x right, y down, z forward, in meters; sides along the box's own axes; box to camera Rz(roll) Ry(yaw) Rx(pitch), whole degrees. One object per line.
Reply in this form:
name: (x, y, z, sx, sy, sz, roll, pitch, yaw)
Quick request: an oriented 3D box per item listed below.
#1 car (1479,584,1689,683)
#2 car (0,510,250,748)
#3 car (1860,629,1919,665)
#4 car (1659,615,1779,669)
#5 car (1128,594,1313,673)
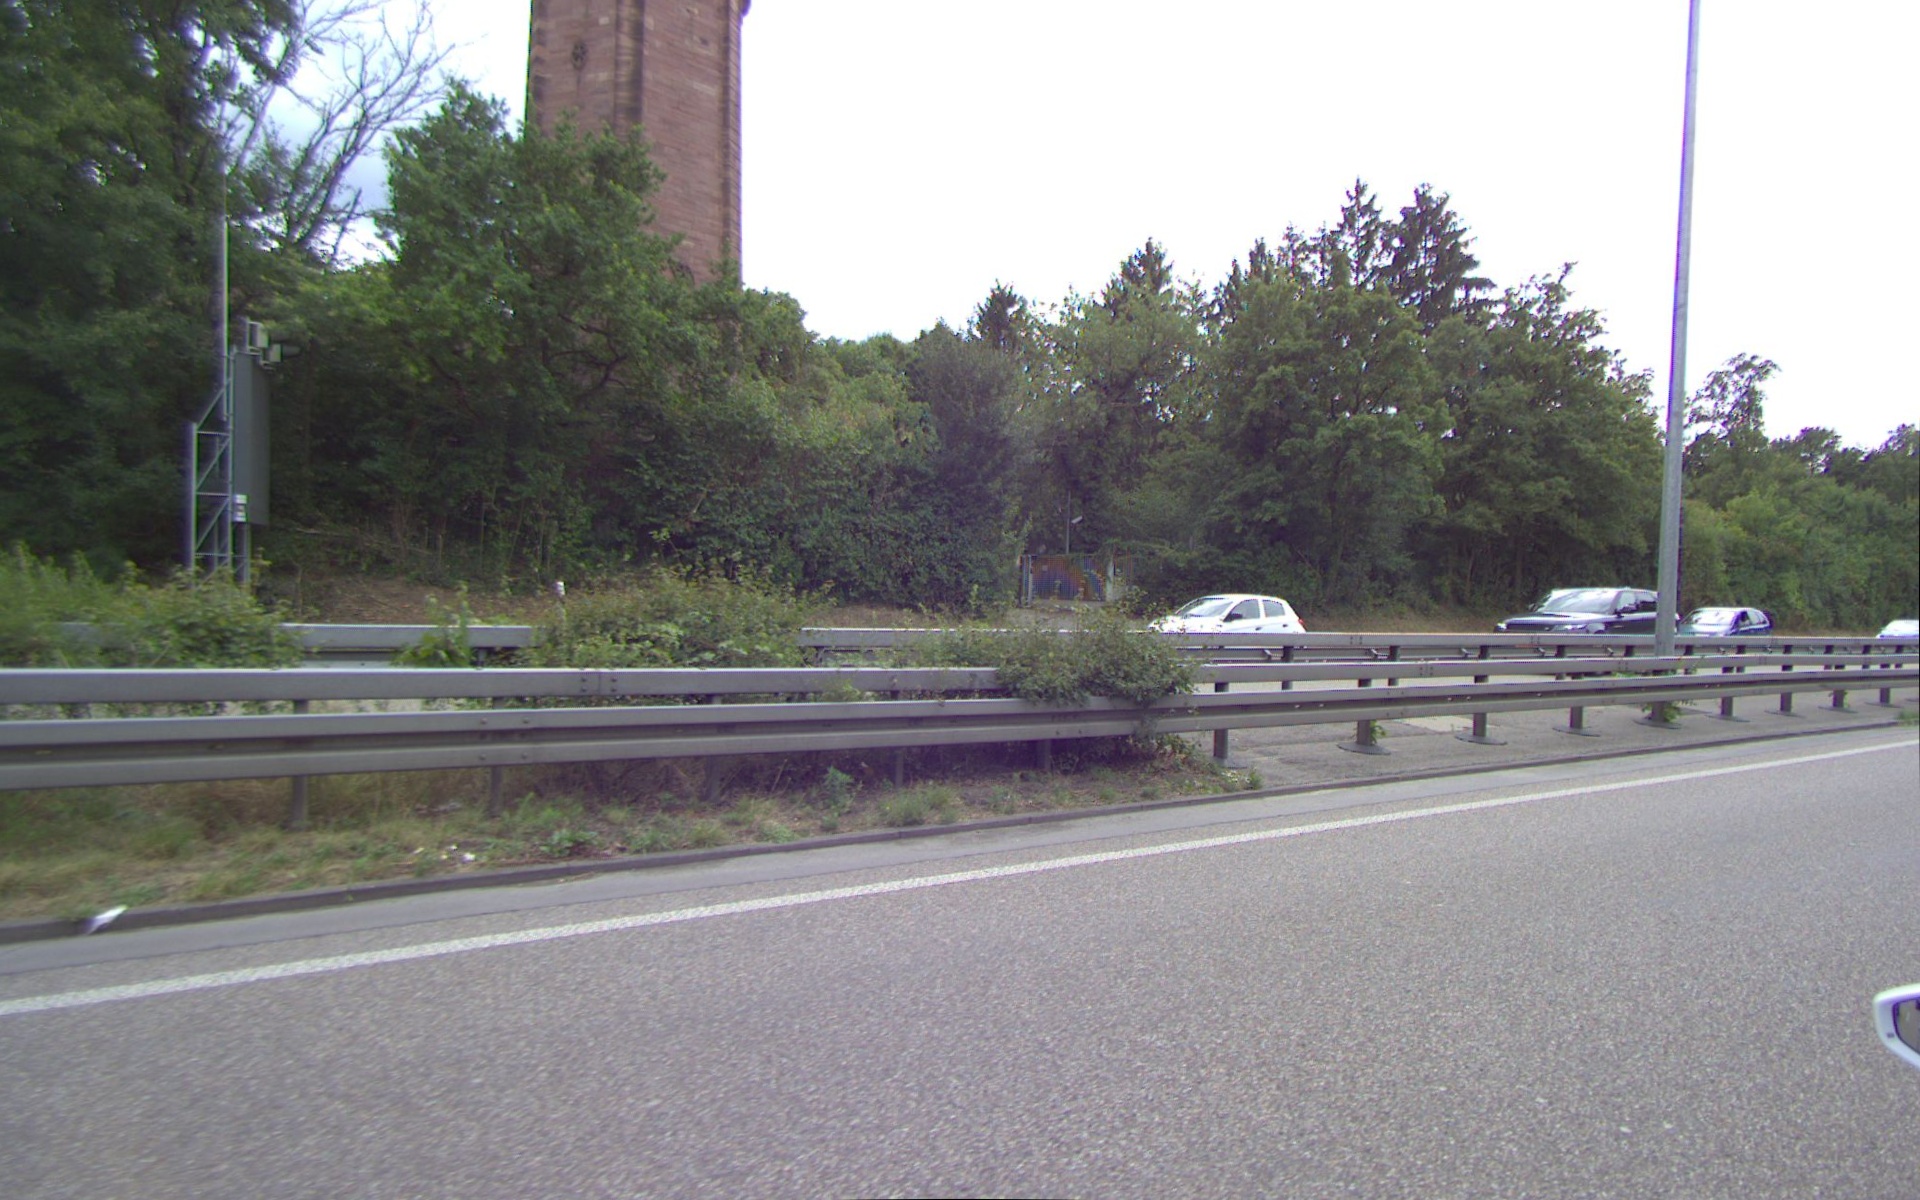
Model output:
car: (13.178, 0.713, 21.109, 4.902, 1.860, 1.782, 2, -1, -32)
car: (-8.440, 0.190, 7.870, 4.489, 1.793, 1.753, 2, -1, -30)
car: (41.361, 2.055, 44.065, 4.012, 1.469, 1.801, 2, -1, -32)
car: (24.244, 1.343, 32.046, 4.086, 1.622, 1.721, 2, -1, -32)
car: (5.468, 0.698, 20.988, 3.685, 1.528, 1.620, 2, -1, -31)
